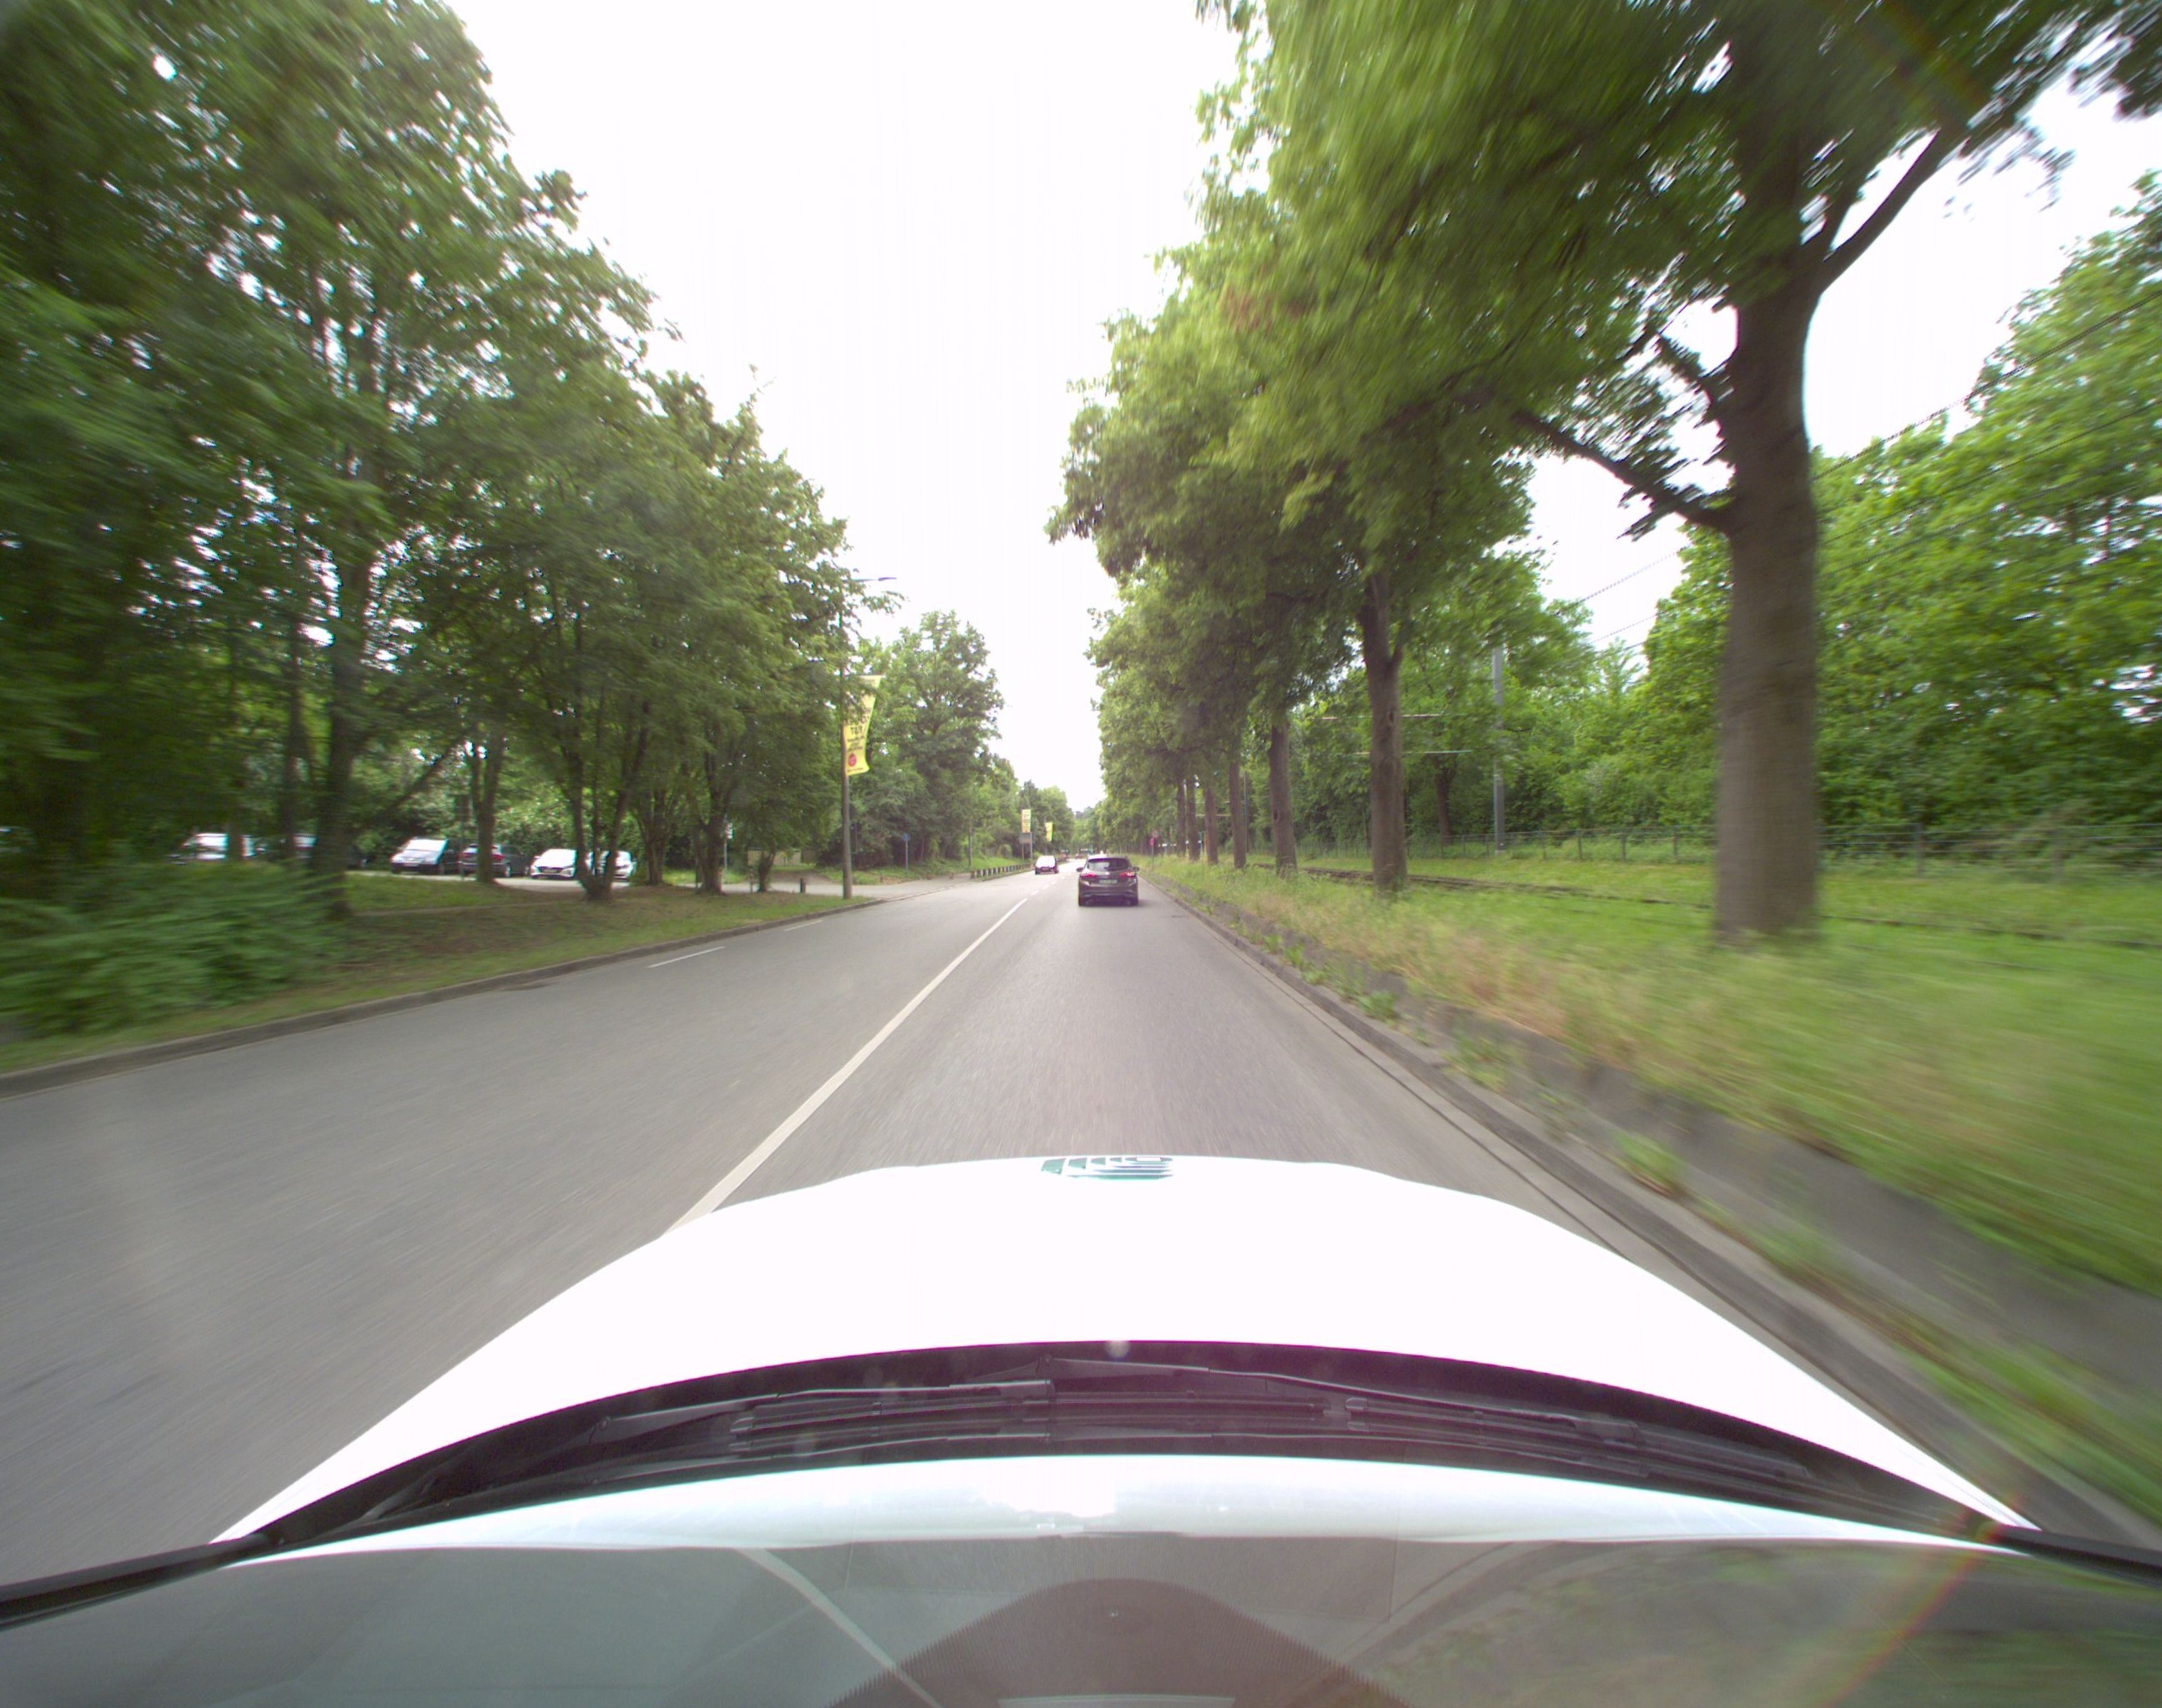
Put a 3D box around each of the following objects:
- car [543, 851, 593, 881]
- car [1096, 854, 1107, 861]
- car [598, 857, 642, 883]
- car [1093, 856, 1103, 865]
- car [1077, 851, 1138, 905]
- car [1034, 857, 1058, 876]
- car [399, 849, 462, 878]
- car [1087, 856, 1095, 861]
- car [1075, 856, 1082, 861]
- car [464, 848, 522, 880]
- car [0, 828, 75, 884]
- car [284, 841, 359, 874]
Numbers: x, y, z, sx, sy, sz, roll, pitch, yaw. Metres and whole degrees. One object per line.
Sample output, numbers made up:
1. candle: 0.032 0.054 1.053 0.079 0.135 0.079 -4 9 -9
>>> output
1. car: -24.669 0.561 39.264 1.375 1.402 3.050 2 -1 -20
2. car: 4.445 0.774 175.039 1.563 1.441 3.536 0 0 -13
3. car: -22.929 0.779 40.615 1.375 1.238 3.050 2 -1 -20
4. car: 2.781 1.068 134.034 1.557 1.441 3.549 0 0 -1
5. car: 0.795 0.680 24.875 1.724 1.537 3.552 0 0 1
6. car: -2.774 0.999 66.149 1.711 1.428 4.196 -3 0 0
7. car: -29.555 0.415 37.068 1.267 1.212 3.050 2 -1 -20
8. car: 2.579 1.139 211.441 1.560 1.441 3.541 0 0 -8
9. car: -0.838 1.384 242.052 1.562 1.441 3.538 0 0 -11
10. car: -27.347 0.437 37.968 1.375 1.402 3.050 2 -1 -20
11. car: -27.734 0.036 20.449 1.651 1.380 3.558 2 -1 -25
12. car: -33.506 0.138 36.001 1.267 1.361 3.050 2 -1 -20
